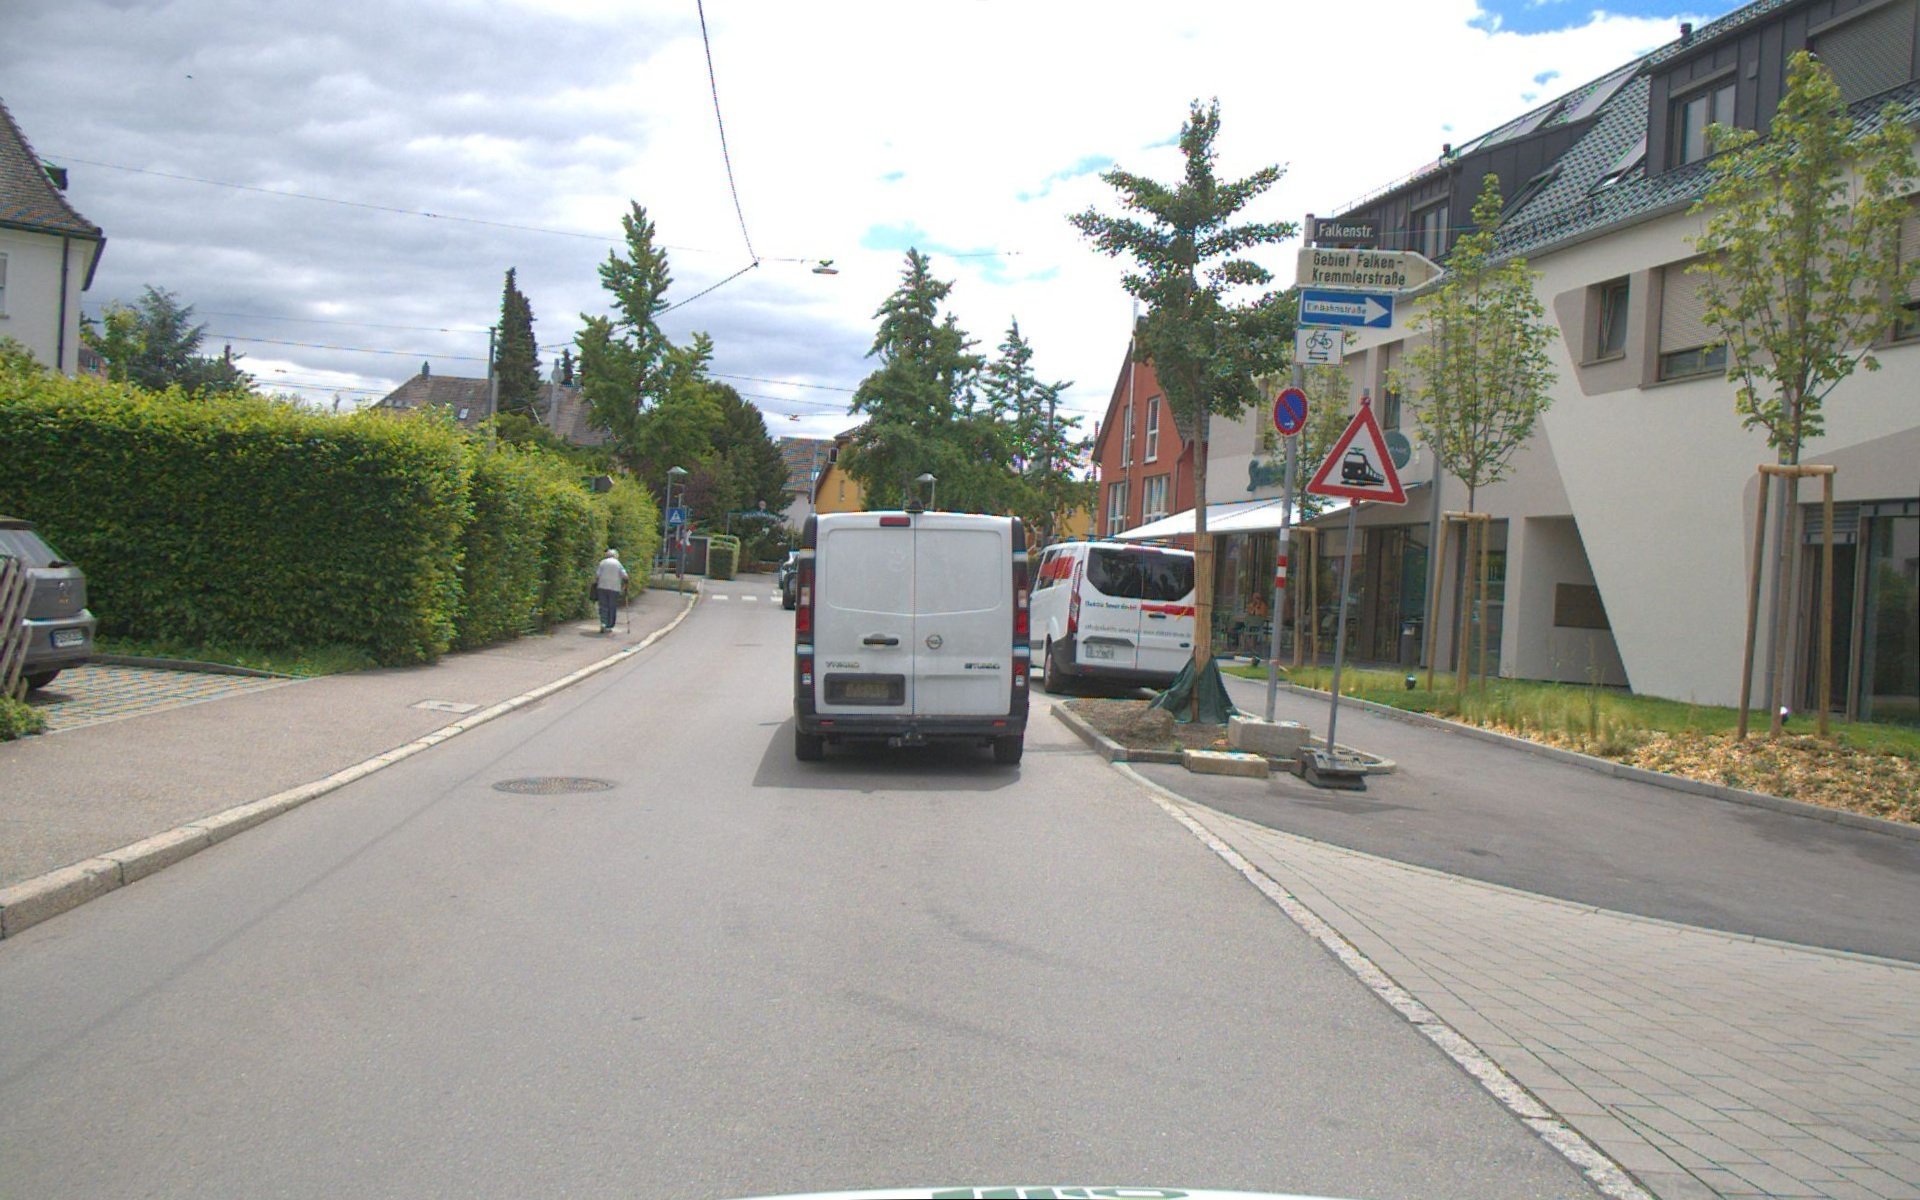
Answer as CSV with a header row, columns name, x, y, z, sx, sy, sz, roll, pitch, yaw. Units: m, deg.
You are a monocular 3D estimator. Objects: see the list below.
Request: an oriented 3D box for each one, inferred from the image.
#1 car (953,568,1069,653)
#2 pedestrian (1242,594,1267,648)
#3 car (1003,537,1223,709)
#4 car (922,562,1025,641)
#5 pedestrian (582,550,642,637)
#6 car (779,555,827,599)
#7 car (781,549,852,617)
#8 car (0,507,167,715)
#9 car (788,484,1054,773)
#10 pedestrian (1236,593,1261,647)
name,x,y,z,sx,sy,sz,roll,pitch,yaw
car,1.008,0.189,34.596,1.710,1.520,3.648,5,0,-9
pedestrian,6.685,0.473,37.542,0.413,1.186,0.323,3,0,-8
car,1.960,0.265,22.841,1.921,1.948,4.895,5,0,-7
car,0.263,-0.009,39.401,1.671,1.642,4.251,5,0,-9
pedestrian,-6.366,-0.115,30.249,0.865,1.510,0.452,5,0,-26
car,-6.878,-1.000,72.437,1.955,1.813,3.995,2,0,-6
car,-4.336,-0.498,49.798,1.955,1.880,3.995,2,0,-6
car,-8.392,-0.076,12.719,3.600,1.458,1.816,5,0,-4
car,-0.461,0.215,14.359,1.878,2.037,4.433,3,0,-5
pedestrian,6.609,0.456,37.904,0.413,1.202,0.323,3,0,-8
